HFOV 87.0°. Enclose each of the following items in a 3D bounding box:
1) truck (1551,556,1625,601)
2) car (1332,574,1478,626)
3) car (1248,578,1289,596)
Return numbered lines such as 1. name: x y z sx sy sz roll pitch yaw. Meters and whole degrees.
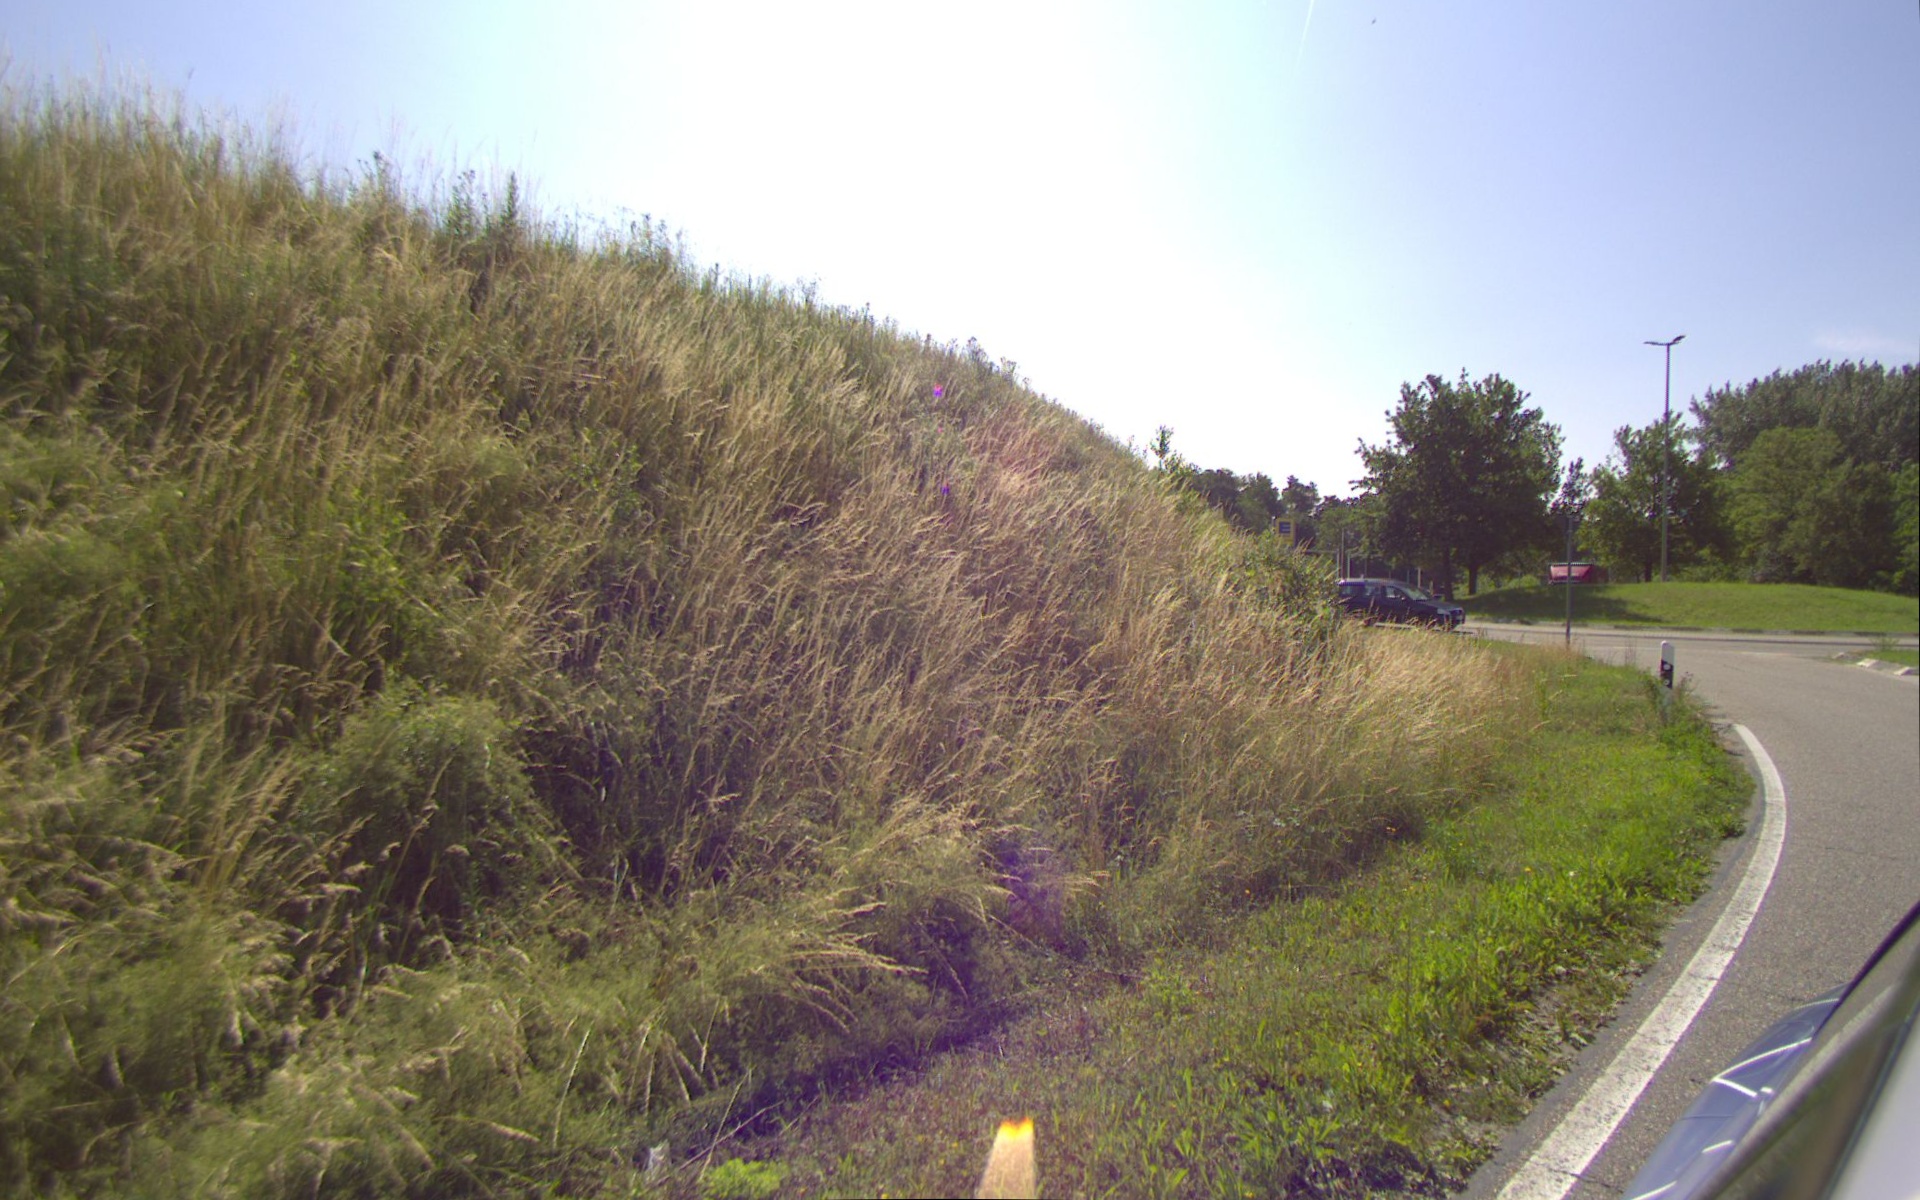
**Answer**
1. truck: 42.908 -1.410 69.004 2.474 2.867 8.912 1 1 44
2. car: 15.176 -0.041 34.749 1.675 1.676 4.353 0 1 -35
3. car: 32.537 -1.397 106.850 3.932 1.816 1.607 1 1 8
